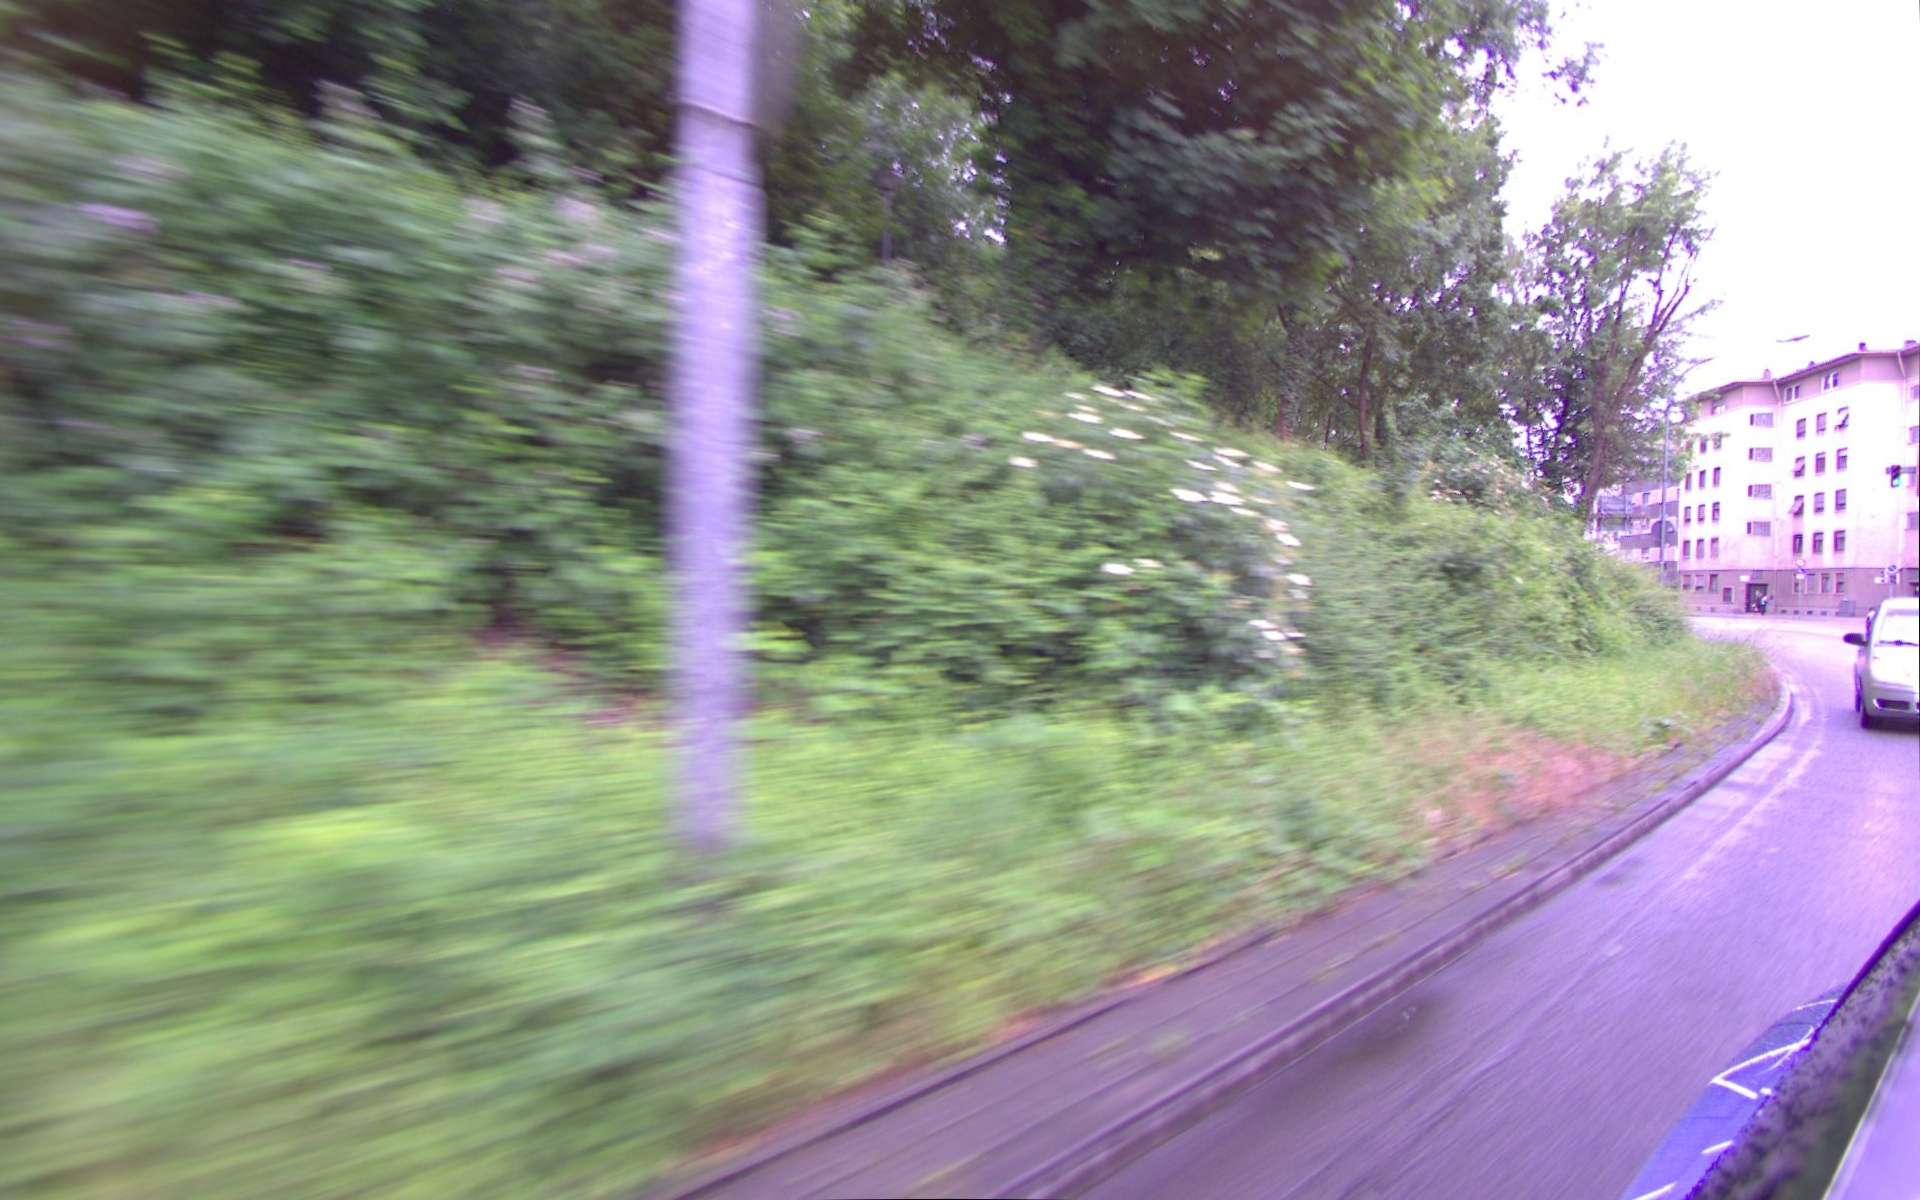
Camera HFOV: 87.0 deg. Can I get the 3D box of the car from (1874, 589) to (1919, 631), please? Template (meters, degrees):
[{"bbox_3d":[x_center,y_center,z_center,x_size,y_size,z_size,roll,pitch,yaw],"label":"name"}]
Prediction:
[{"bbox_3d":[36.782,0.369,38.668,1.776,1.514,4.173,3,2,29],"label":"car"}]

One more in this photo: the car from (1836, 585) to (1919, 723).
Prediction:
[{"bbox_3d":[12.242,0.594,12.538,1.743,1.538,3.948,-1,0,36],"label":"car"}]

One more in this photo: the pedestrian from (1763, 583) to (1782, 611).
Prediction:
[{"bbox_3d":[60.331,-0.198,75.164,0.799,2.039,0.855,0,-1,14],"label":"pedestrian"}]
